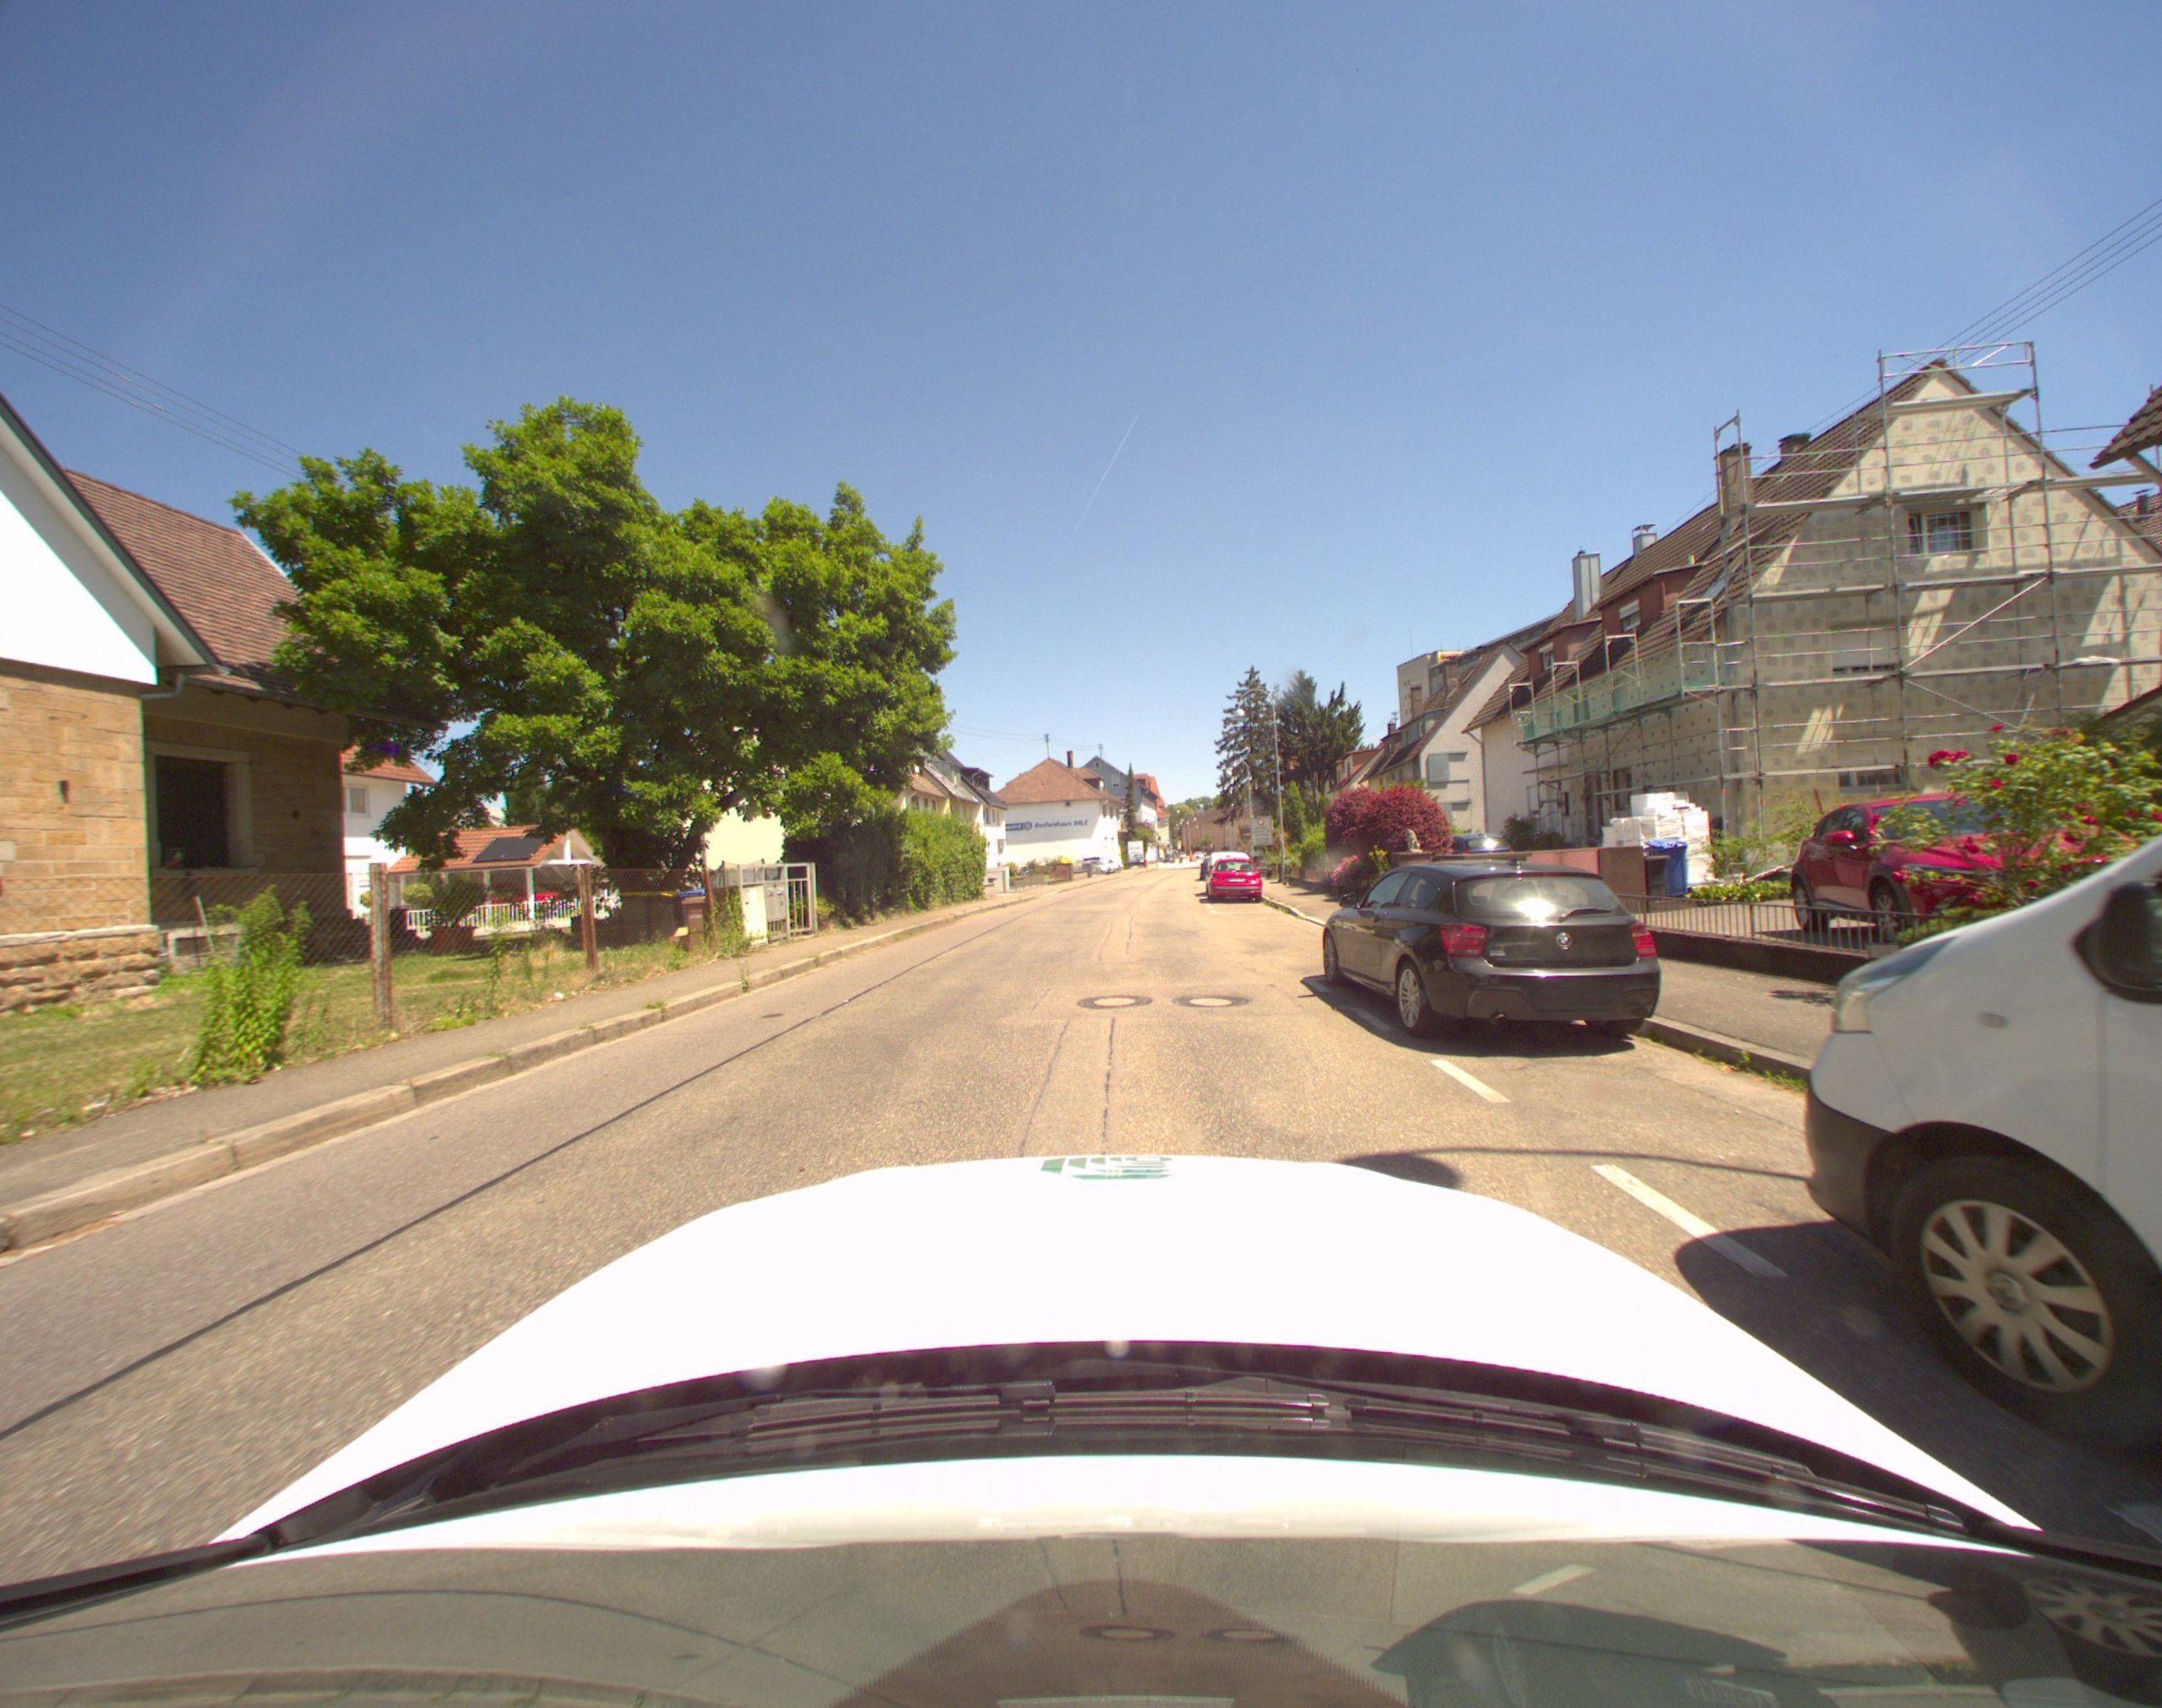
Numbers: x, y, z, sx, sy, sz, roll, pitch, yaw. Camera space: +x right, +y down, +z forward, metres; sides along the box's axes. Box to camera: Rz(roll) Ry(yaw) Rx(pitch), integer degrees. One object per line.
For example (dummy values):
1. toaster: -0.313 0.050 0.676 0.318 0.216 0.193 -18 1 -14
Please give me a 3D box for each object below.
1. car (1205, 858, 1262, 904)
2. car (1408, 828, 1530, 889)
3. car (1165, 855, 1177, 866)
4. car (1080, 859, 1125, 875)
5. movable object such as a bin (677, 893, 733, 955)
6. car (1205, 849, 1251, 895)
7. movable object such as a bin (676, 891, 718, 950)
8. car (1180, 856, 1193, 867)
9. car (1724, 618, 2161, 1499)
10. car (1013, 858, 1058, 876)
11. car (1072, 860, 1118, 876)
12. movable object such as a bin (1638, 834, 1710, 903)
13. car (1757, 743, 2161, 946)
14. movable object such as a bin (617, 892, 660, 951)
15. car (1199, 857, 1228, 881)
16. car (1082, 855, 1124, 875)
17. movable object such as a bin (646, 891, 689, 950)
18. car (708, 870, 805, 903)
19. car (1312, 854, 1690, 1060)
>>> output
1. car: 5.206 0.878 28.193 1.655 1.455 4.007 -2 0 7
2. car: 11.432 0.102 24.293 1.787 1.510 4.003 -5 0 3
3. car: 14.598 1.094 132.083 1.747 1.656 4.010 -2 -1 9
4. car: 2.135 1.294 80.458 4.105 1.394 1.833 -3 0 8
5. movable object such as a bin: -6.418 1.189 13.926 0.705 0.996 0.474 -2 -1 0
6. car: 5.944 0.731 33.158 1.654 1.755 4.008 0 -1 8
7. movable object such as a bin: -6.899 1.180 14.648 0.465 1.009 0.506 -2 -1 2
8. car: 15.942 1.130 123.448 1.747 1.656 4.010 -3 0 9
9. car: 3.262 0.417 0.584 1.896 1.925 4.720 -2 0 1
10. car: -4.090 1.146 72.534 1.811 1.510 3.950 -3 0 -45
11. car: 1.301 1.360 77.635 4.090 1.344 1.923 -3 0 43
12. movable object such as a bin: 11.406 0.275 15.687 0.753 1.218 0.751 -7 -1 9
13. car: 8.822 0.021 8.557 1.723 1.535 4.074 -6 -5 28
14. movable object such as a bin: -8.016 1.215 14.758 0.465 1.009 0.506 -2 -1 2
15. car: 8.494 0.932 52.139 1.767 1.405 4.298 -1 0 10
16. car: 2.267 1.089 82.924 4.108 1.774 1.831 -3 0 5
17. movable object such as a bin: -7.435 1.191 14.649 0.465 1.009 0.506 -2 -1 2
18. car: -15.828 1.571 39.889 3.977 1.510 1.798 -1 -1 -3
19. car: 3.520 0.736 7.739 1.649 1.398 4.003 -2 0 3
